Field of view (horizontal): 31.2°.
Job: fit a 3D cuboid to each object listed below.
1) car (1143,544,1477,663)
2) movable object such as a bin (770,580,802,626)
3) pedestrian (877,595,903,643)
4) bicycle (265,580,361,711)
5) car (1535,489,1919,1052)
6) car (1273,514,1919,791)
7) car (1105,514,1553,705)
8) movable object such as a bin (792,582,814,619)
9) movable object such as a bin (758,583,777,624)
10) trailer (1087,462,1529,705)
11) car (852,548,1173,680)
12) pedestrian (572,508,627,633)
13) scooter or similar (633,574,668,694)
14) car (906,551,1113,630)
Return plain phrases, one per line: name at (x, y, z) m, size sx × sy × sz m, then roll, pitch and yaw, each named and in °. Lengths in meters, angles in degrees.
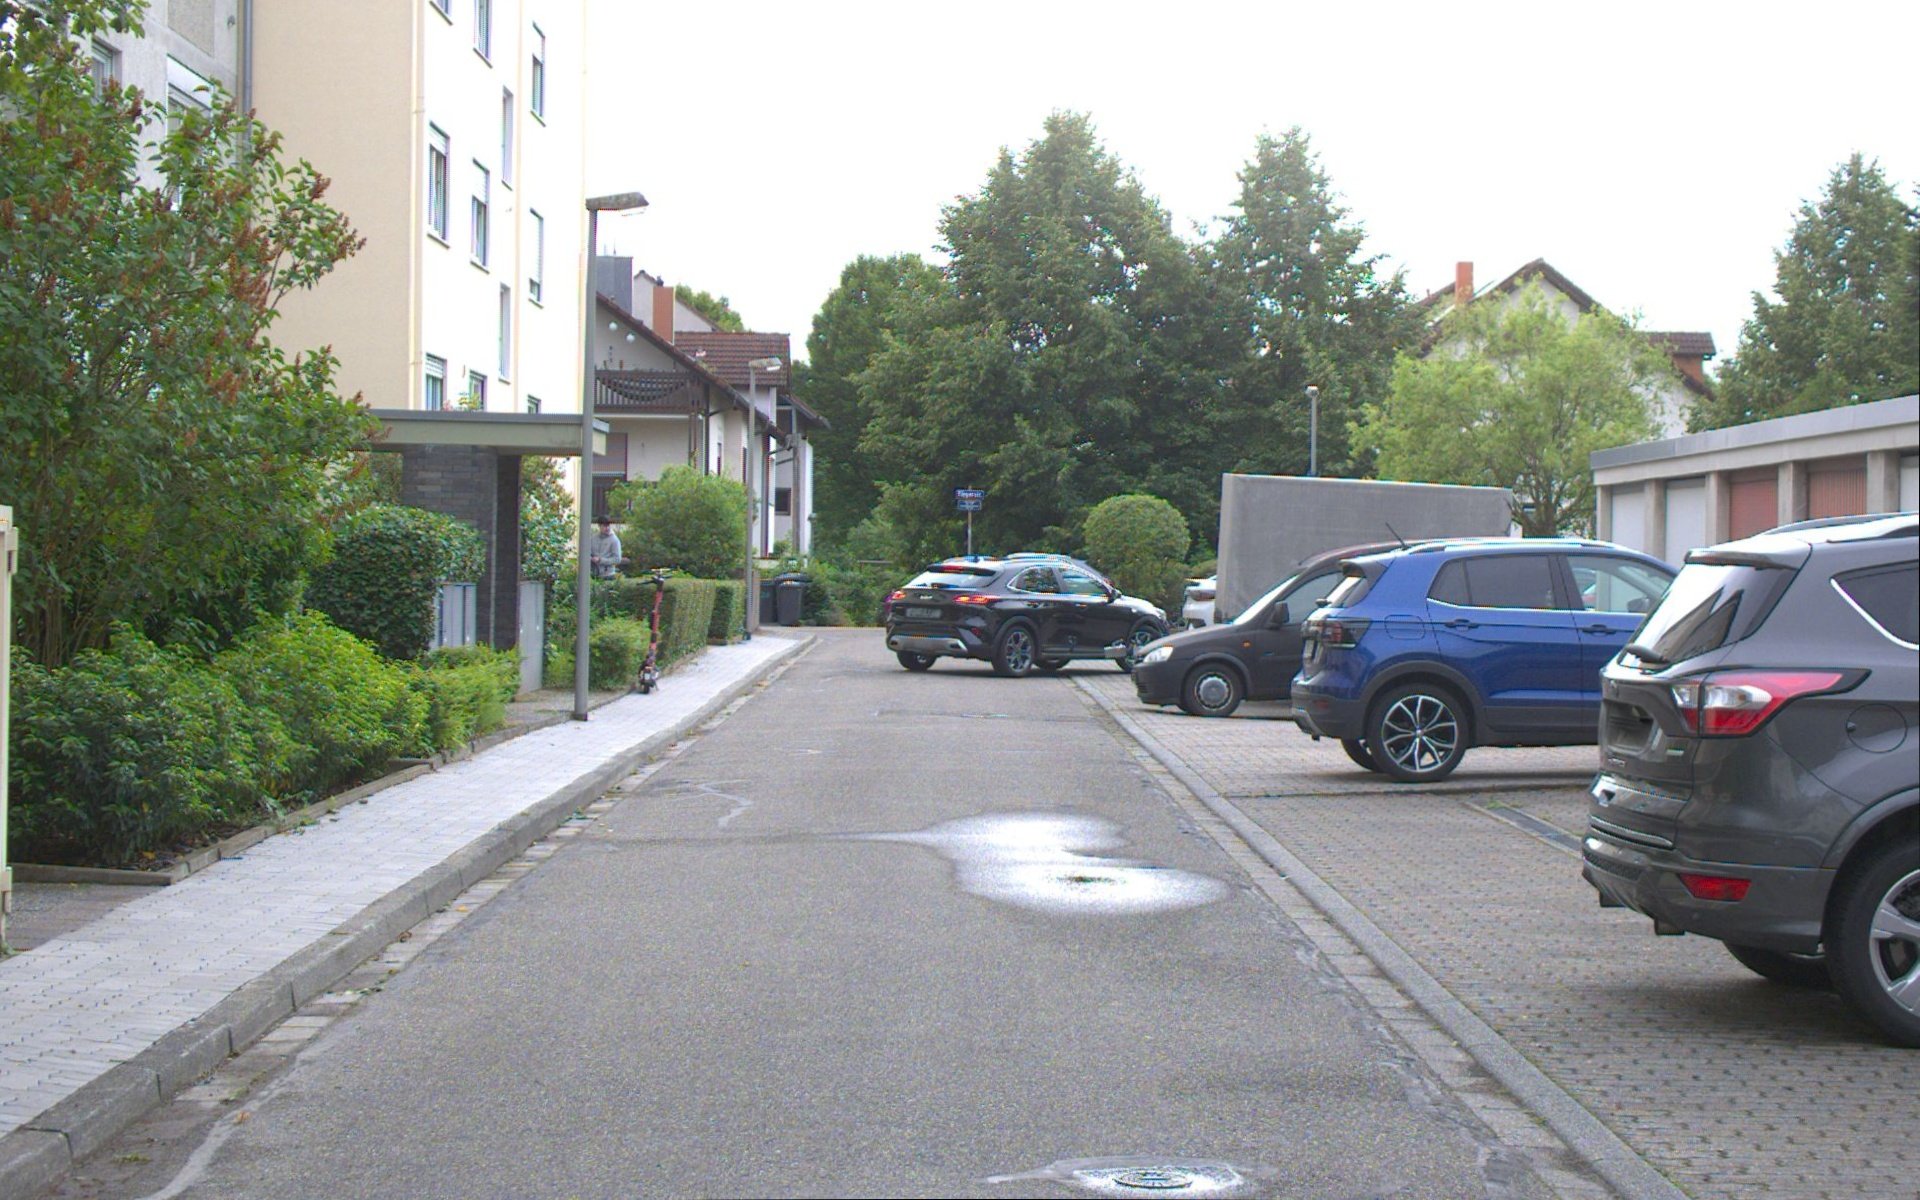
car at (4.888, 0.034, 48.497) m, size 4.537 × 1.583 × 1.988 m, roll 1°, pitch 1°, yaw 2°
movable object such as a bin at (-3.709, 0.063, 73.468) m, size 0.638 × 0.950 × 0.723 m, roll 2°, pitch 1°, yaw -1°
pedestrian at (-2.229, 0.604, 109.352) m, size 0.815 × 1.512 × 0.438 m, roll 1°, pitch 0°, yaw -3°
bicycle at (-5.420, 0.366, 28.869) m, size 0.453 × 1.031 × 1.546 m, roll 3°, pitch 1°, yaw 1°
car at (4.244, 0.464, 11.647) m, size 4.195 × 1.721 × 2.000 m, roll -1°, pitch 1°, yaw -1°
car at (4.239, 0.320, 23.287) m, size 3.987 × 1.697 × 2.000 m, roll -1°, pitch 1°, yaw -1°
car at (3.712, 0.074, 35.183) m, size 4.310 × 1.795 × 2.000 m, roll -1°, pitch 1°, yaw -1°
movable object such as a bin at (-3.452, 0.017, 75.439) m, size 0.459 × 0.795 × 0.379 m, roll 2°, pitch 1°, yaw -3°
movable object such as a bin at (-4.204, 0.080, 75.059) m, size 0.386 × 0.886 × 0.379 m, roll 2°, pitch 1°, yaw -3°
trailer at (3.758, -0.192, 37.771) m, size 4.609 × 2.516 × 1.943 m, roll 1°, pitch 1°, yaw 0°
car at (0.712, 0.150, 44.379) m, size 1.998 × 1.546 × 3.990 m, roll 0°, pitch 1°, yaw 42°
pedestrian at (-5.125, -0.424, 48.849) m, size 0.679 × 1.743 × 0.756 m, roll 2°, pitch 1°, yaw -2°
scooter or similar at (-3.187, 0.341, 35.478) m, size 0.272 × 1.206 × 1.164 m, roll 1°, pitch 1°, yaw -1°
car at (1.017, -0.194, 71.669) m, size 4.237 × 1.526 × 1.747 m, roll 1°, pitch -1°, yaw -1°
